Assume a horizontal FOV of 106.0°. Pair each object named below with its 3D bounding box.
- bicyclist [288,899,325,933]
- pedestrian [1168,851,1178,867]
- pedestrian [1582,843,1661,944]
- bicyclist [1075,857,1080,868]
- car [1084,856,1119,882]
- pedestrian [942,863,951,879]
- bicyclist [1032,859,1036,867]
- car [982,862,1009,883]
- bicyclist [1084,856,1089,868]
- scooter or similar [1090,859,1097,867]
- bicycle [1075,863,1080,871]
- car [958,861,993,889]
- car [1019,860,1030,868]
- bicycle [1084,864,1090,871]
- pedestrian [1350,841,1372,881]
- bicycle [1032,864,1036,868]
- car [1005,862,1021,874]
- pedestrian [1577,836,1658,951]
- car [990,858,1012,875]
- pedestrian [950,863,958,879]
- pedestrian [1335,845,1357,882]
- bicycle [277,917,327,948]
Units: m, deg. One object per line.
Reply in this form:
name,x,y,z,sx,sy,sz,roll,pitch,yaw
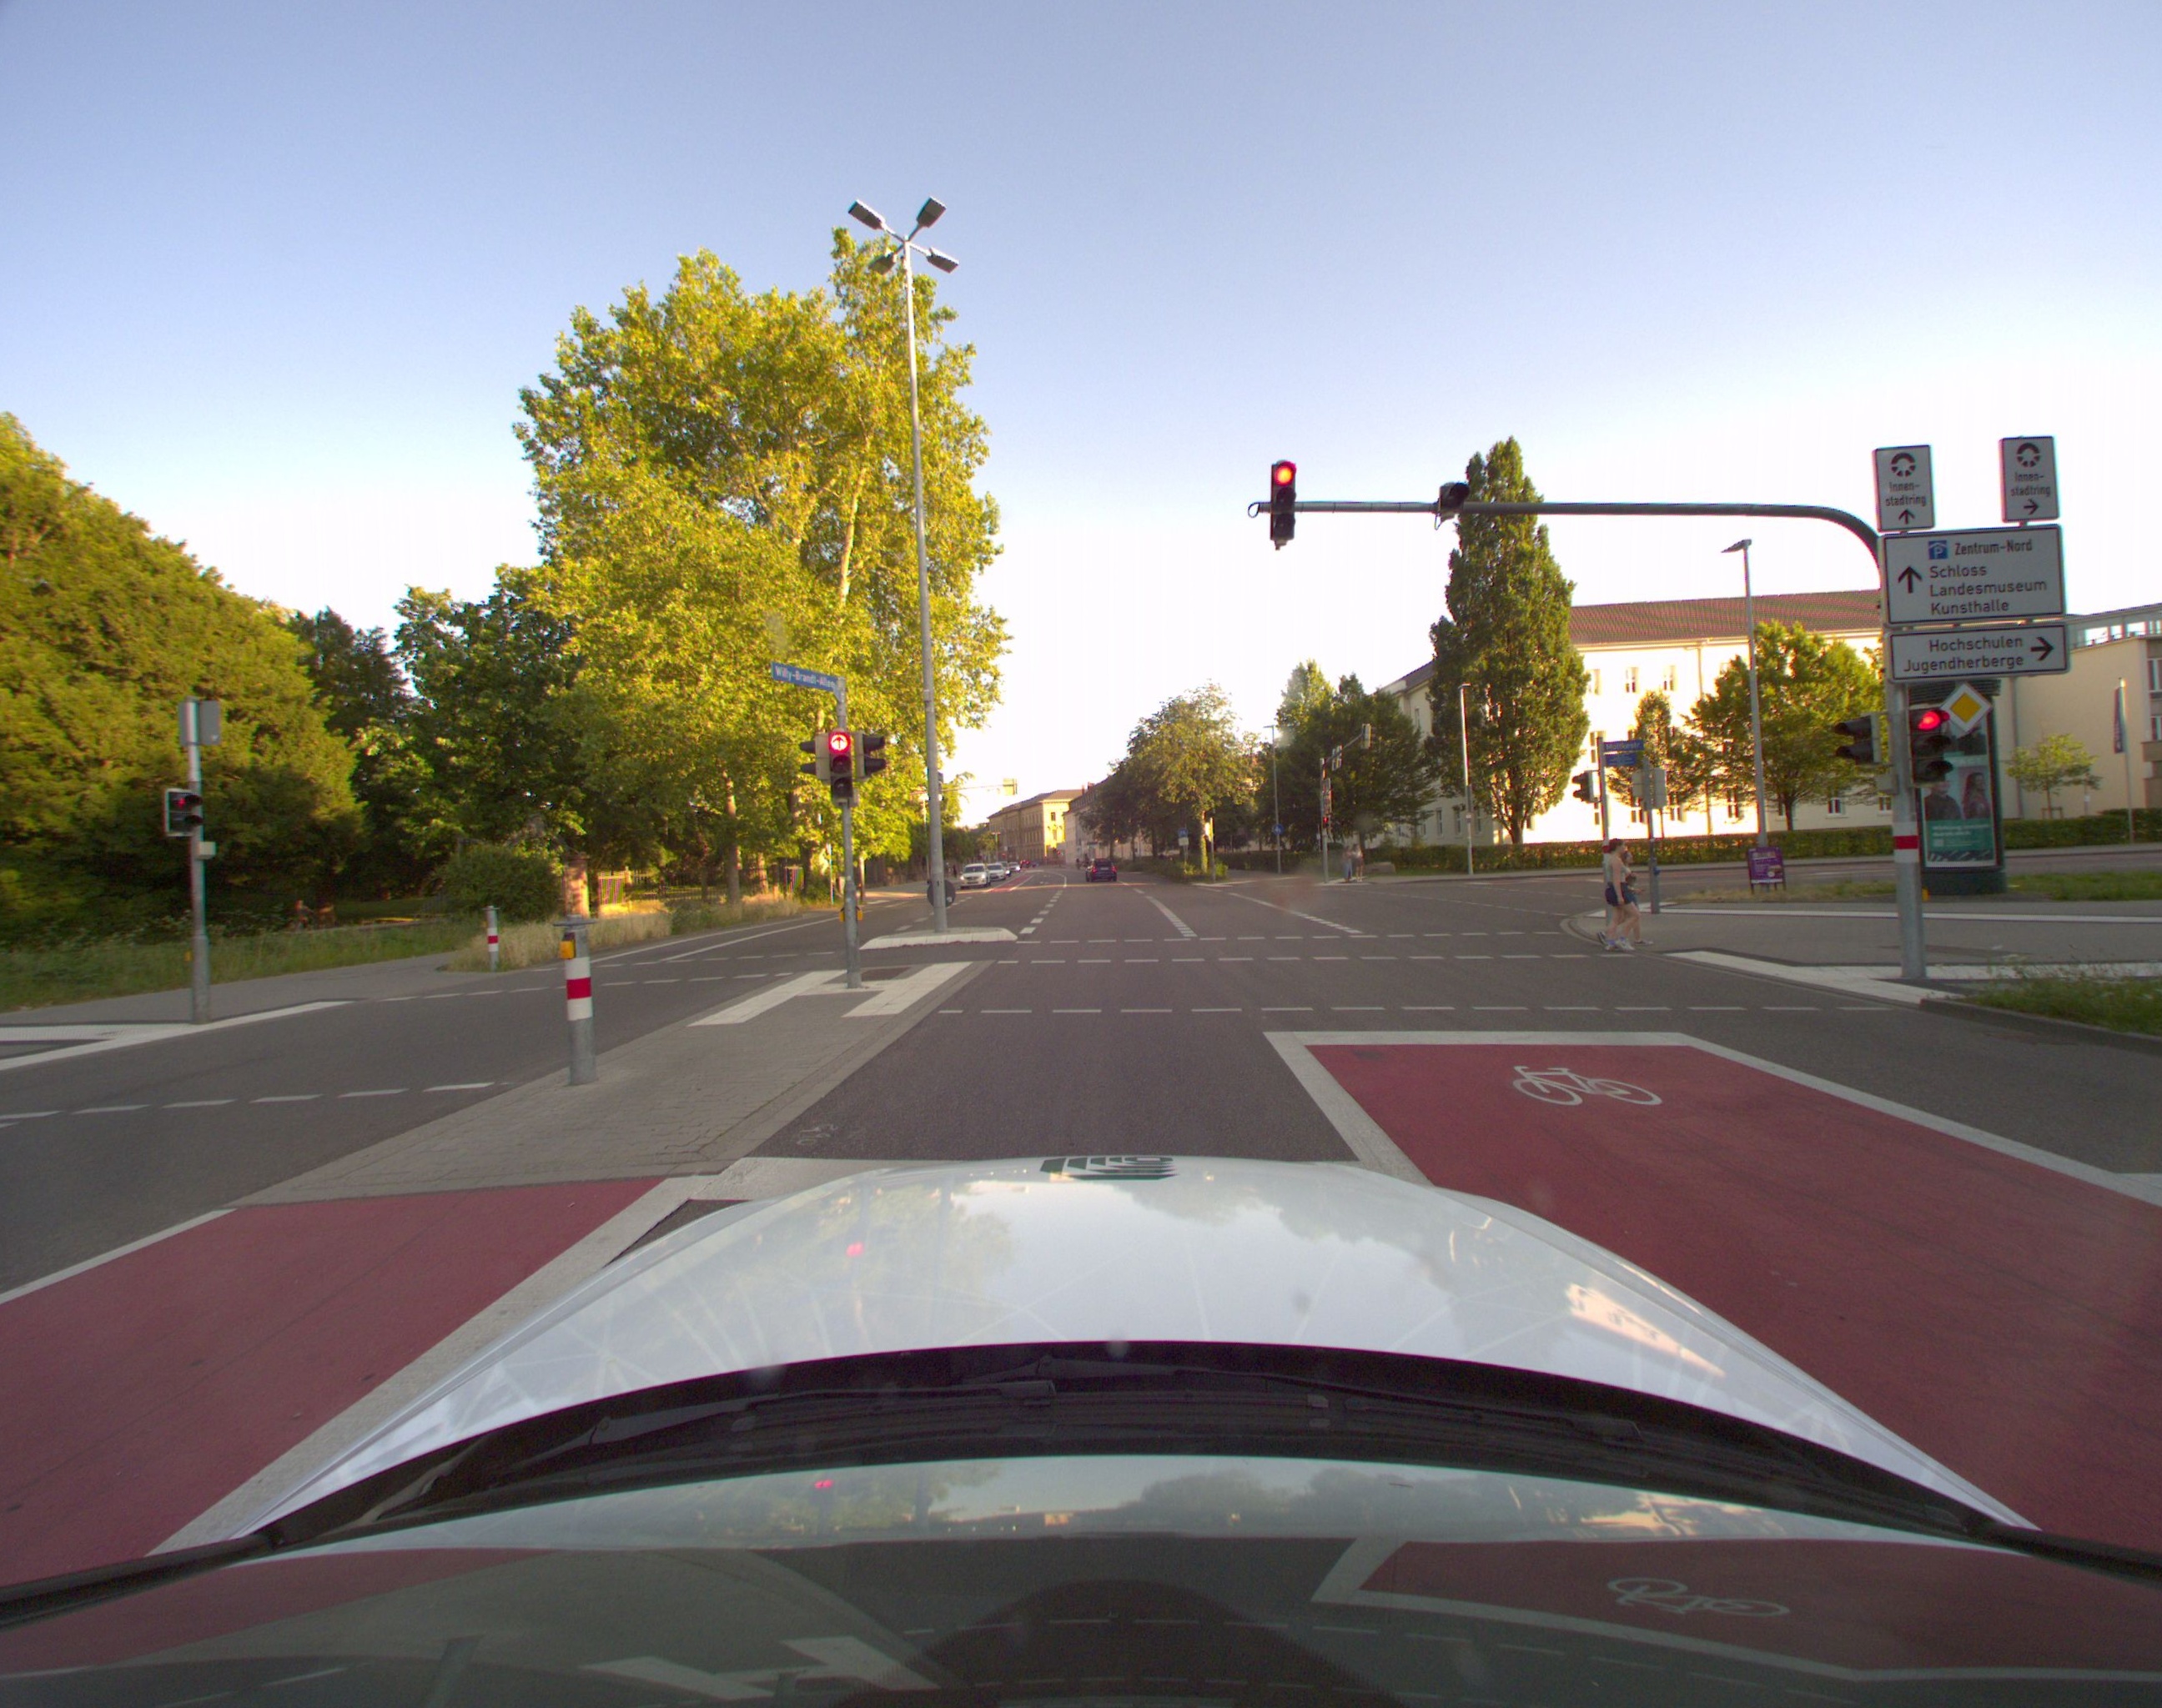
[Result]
bicyclist,-34.174,2.719,35.938,0.882,1.427,0.795,-3,-1,19
pedestrian,9.914,0.527,87.968,0.769,1.739,0.805,-3,0,-8
pedestrian,8.551,0.614,12.917,0.780,1.523,0.740,-3,0,16
bicyclist,-0.474,1.167,106.674,0.650,1.446,0.878,0,-1,-3
car,1.299,0.961,53.428,1.864,1.510,3.994,-3,0,-4
pedestrian,-14.345,1.833,86.887,0.678,1.622,0.689,-3,0,1
bicyclist,-10.066,1.986,173.980,0.651,1.698,0.954,0,-1,-8
car,-7.410,1.554,70.769,1.912,1.583,4.670,-5,0,-2
bicyclist,0.751,1.051,107.100,0.650,1.475,0.939,0,-1,-3
scooter or similar,2.261,1.657,145.503,0.630,1.337,2.390,-2,-1,-12
bicycle,-0.476,1.744,106.694,0.650,1.015,2.196,0,-1,-2
car,-7.258,1.427,56.426,1.912,1.695,4.422,-5,0,-2
car,-11.881,2.138,170.550,1.915,1.417,4.756,-5,0,-8
bicycle,0.758,1.770,106.941,0.650,1.015,2.195,0,-1,-3
pedestrian,12.631,0.329,36.719,0.678,1.754,0.689,-3,0,1
bicycle,-10.059,2.573,173.953,0.651,1.015,2.191,0,-1,-8
car,-9.710,1.996,115.960,1.912,1.417,4.766,-5,0,-2
pedestrian,8.096,0.585,12.322,0.768,1.660,0.724,-3,0,14
car,-8.408,1.321,85.746,1.912,1.624,4.635,-5,0,-2
pedestrian,-13.528,1.782,86.893,0.678,1.622,0.689,-3,0,1
pedestrian,11.934,0.403,36.726,0.678,1.622,0.845,-3,0,1
bicycle,-34.478,3.458,36.047,1.957,1.256,0.796,-3,-1,20
